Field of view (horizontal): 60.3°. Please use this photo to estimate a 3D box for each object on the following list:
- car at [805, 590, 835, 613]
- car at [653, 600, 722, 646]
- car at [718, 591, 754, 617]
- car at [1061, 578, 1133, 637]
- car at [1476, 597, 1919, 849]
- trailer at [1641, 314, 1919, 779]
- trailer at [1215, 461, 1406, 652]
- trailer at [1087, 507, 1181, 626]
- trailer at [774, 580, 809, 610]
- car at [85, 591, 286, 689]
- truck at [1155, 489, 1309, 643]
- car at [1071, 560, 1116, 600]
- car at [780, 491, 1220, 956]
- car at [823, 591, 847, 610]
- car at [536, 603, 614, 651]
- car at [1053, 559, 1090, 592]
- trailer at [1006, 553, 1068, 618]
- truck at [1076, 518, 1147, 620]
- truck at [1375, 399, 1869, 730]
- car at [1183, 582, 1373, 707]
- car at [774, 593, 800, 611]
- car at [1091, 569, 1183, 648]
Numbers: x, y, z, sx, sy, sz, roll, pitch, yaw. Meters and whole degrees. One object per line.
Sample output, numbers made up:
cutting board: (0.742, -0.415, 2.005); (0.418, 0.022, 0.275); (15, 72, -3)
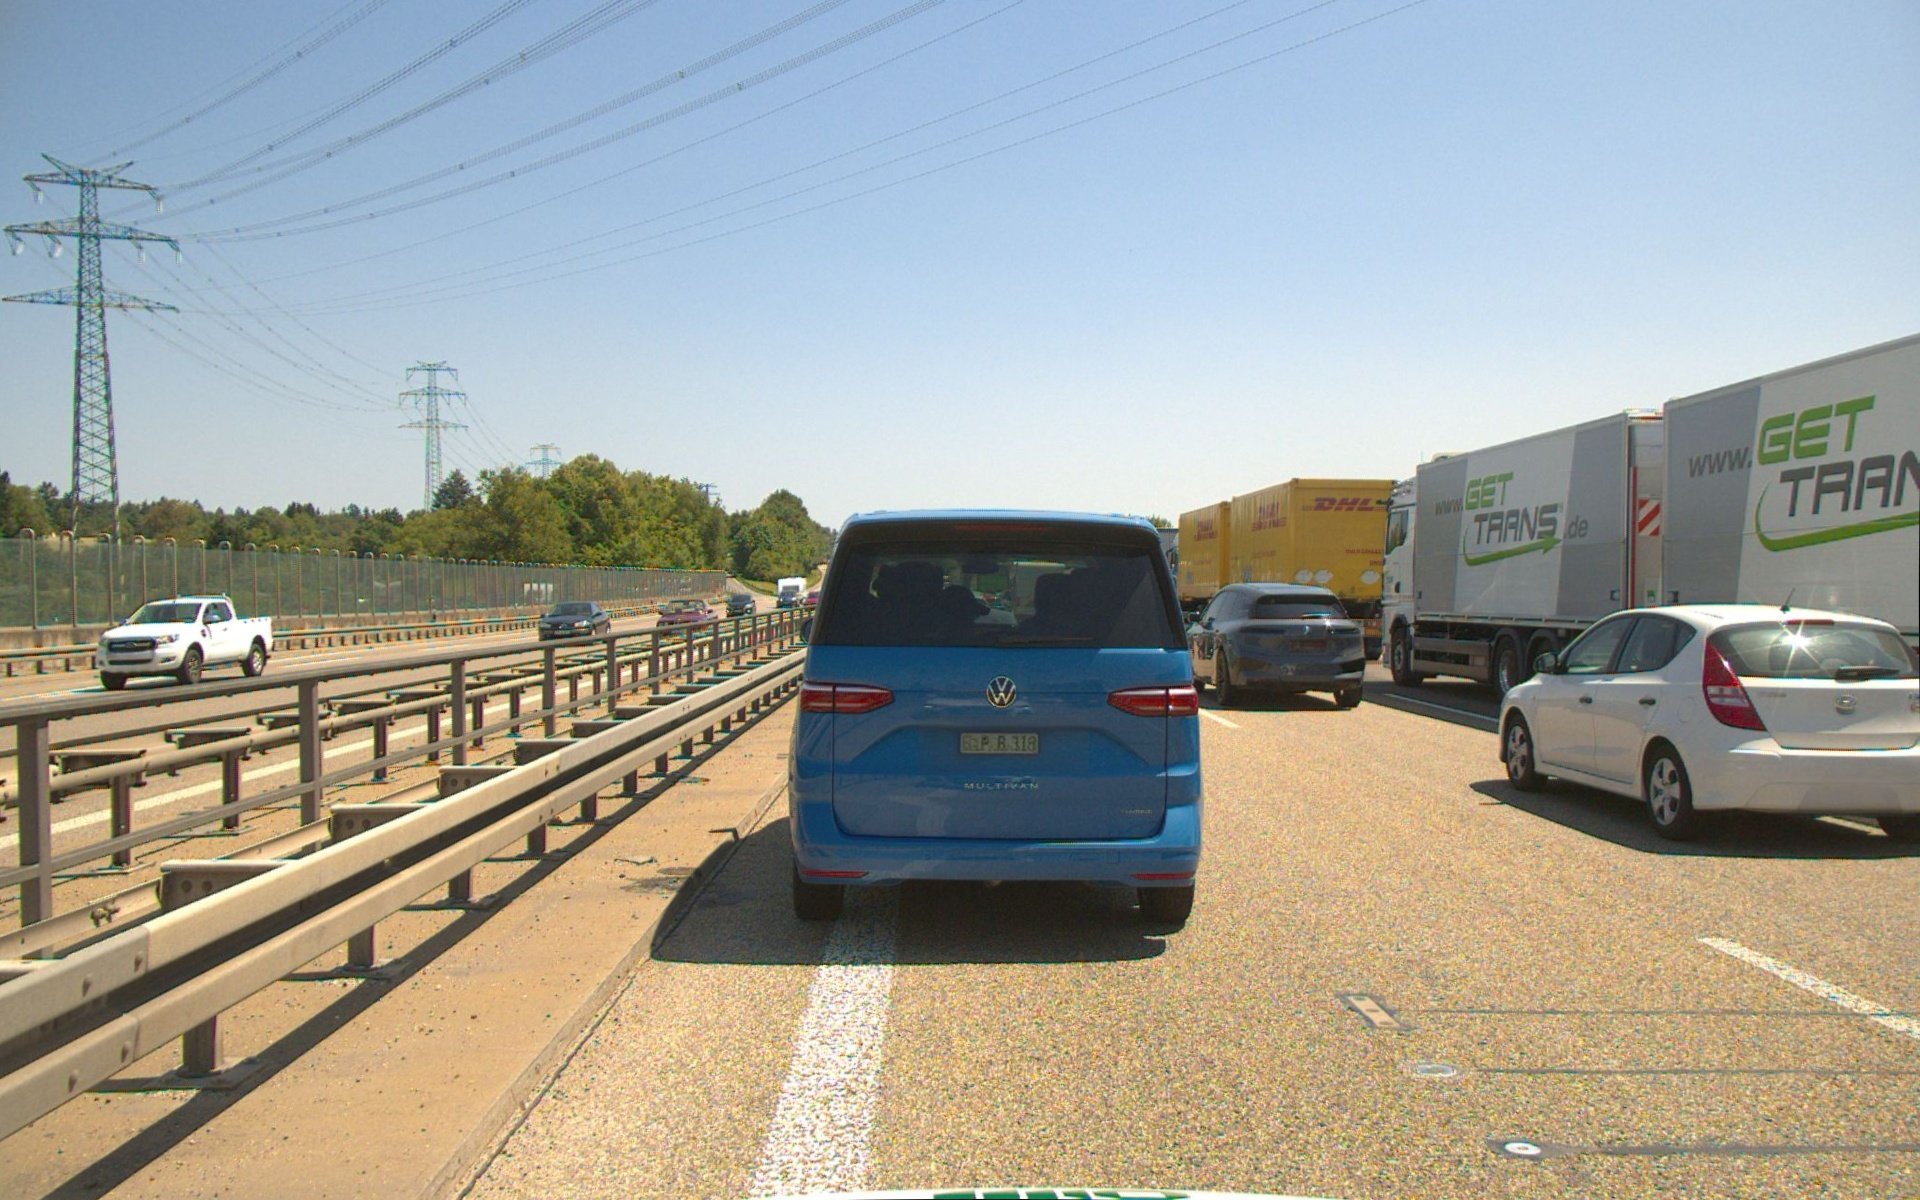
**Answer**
car: (-9.987, 0.134, 118.047); (1.755, 1.503, 3.988); (-3, 0, -1)
car: (-8.783, 0.721, 53.589); (1.565, 1.341, 4.340); (-2, 0, -1)
car: (-14.298, 0.235, 105.776); (1.695, 1.517, 4.418); (-2, 1, -1)
car: (4.374, 0.216, 53.413); (1.953, 1.847, 3.999); (0, 0, -1)
car: (5.321, 0.726, 12.012); (1.752, 1.481, 4.292); (0, 0, -1)
trailer: (9.055, -0.444, 14.609); (2.643, 3.765, 8.013); (0, 0, -1)
trailer: (8.686, -0.984, 42.228); (2.806, 4.313, 9.010); (1, 0, -1)
trailer: (7.217, -1.357, 70.269); (2.583, 4.595, 11.299); (1, 0, -1)
trailer: (-15.040, -0.464, 148.277); (2.442, 2.593, 6.773); (-2, 0, -1)
car: (-16.707, 0.795, 36.029); (1.953, 1.918, 5.254); (-1, 0, -1)
truck: (8.346, -0.990, 52.298); (2.778, 4.317, 11.008); (1, 0, -1)
car: (7.031, -1.035, 87.444); (1.953, 2.049, 3.999); (1, 0, -1)
car: (0.144, 0.504, 8.837); (1.783, 1.890, 4.074); (1, 0, -1)
car: (-10.453, 0.022, 138.382); (1.634, 1.473, 4.000); (-3, 0, 0)
car: (-12.470, 0.853, 53.818); (1.565, 1.373, 4.178); (-2, 0, -1)
car: (7.078, -1.542, 105.178); (1.953, 2.049, 4.460); (-1, 0, -1)
trailer: (3.786, -0.686, 83.259); (2.517, 3.042, 10.661); (1, 0, -1)
truck: (7.065, -1.401, 77.791); (2.613, 4.562, 6.848); (1, 0, -1)
truck: (8.844, -0.444, 24.133); (2.603, 3.711, 11.008); (0, 0, -1)
car: (4.549, 0.575, 24.295); (1.922, 1.673, 4.292); (0, 0, -1)
car: (-14.897, 0.131, 142.540); (1.739, 1.432, 4.682); (-2, 0, -1)
car: (4.664, 0.200, 44.140); (1.922, 2.028, 4.292); (0, 0, -1)
